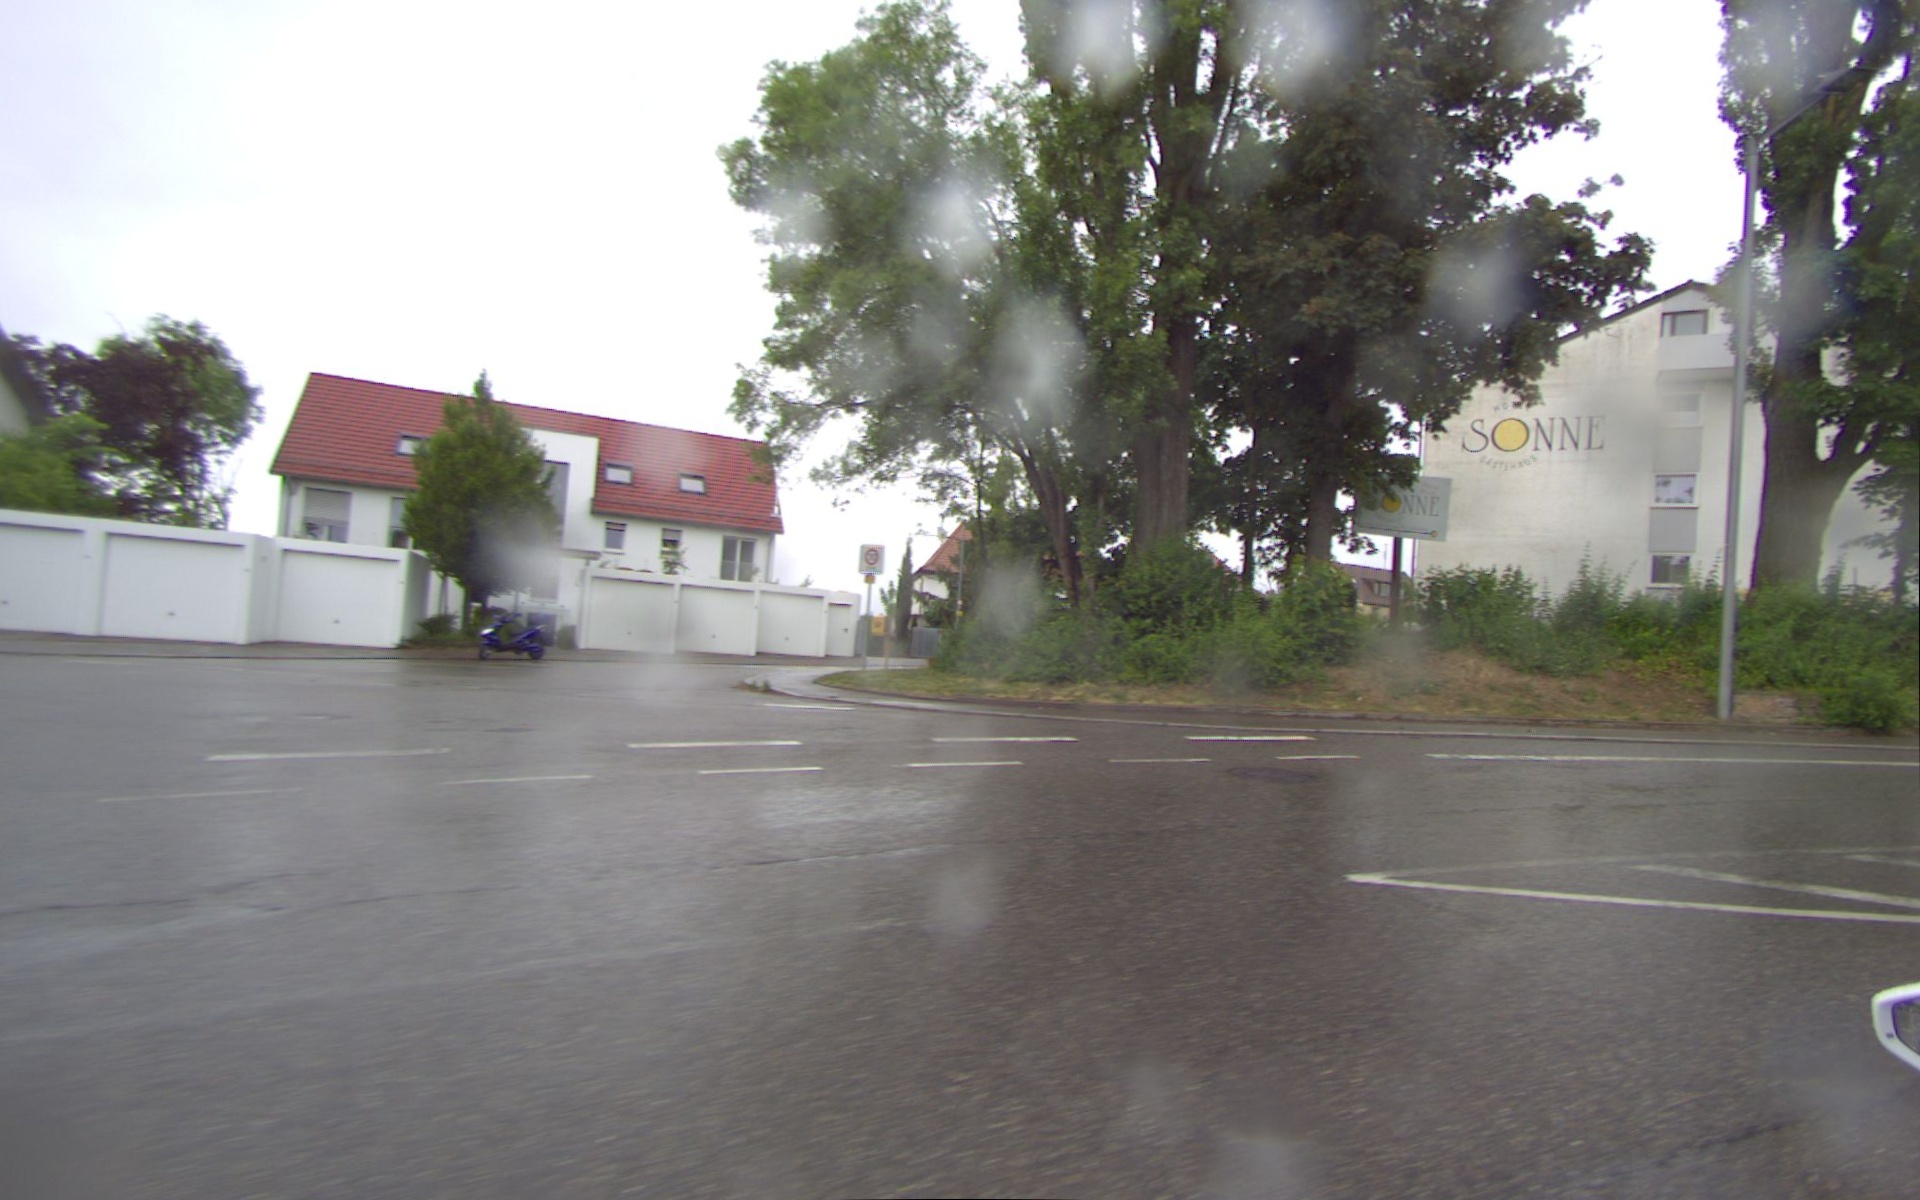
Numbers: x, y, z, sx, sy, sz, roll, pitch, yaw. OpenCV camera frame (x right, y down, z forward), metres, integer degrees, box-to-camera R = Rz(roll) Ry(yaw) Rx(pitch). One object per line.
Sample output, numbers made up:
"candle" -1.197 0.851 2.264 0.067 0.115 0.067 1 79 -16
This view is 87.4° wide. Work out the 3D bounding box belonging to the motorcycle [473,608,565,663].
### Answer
"motorcycle" -11.358 0.919 25.947 0.699 1.339 2.034 2 -1 43
